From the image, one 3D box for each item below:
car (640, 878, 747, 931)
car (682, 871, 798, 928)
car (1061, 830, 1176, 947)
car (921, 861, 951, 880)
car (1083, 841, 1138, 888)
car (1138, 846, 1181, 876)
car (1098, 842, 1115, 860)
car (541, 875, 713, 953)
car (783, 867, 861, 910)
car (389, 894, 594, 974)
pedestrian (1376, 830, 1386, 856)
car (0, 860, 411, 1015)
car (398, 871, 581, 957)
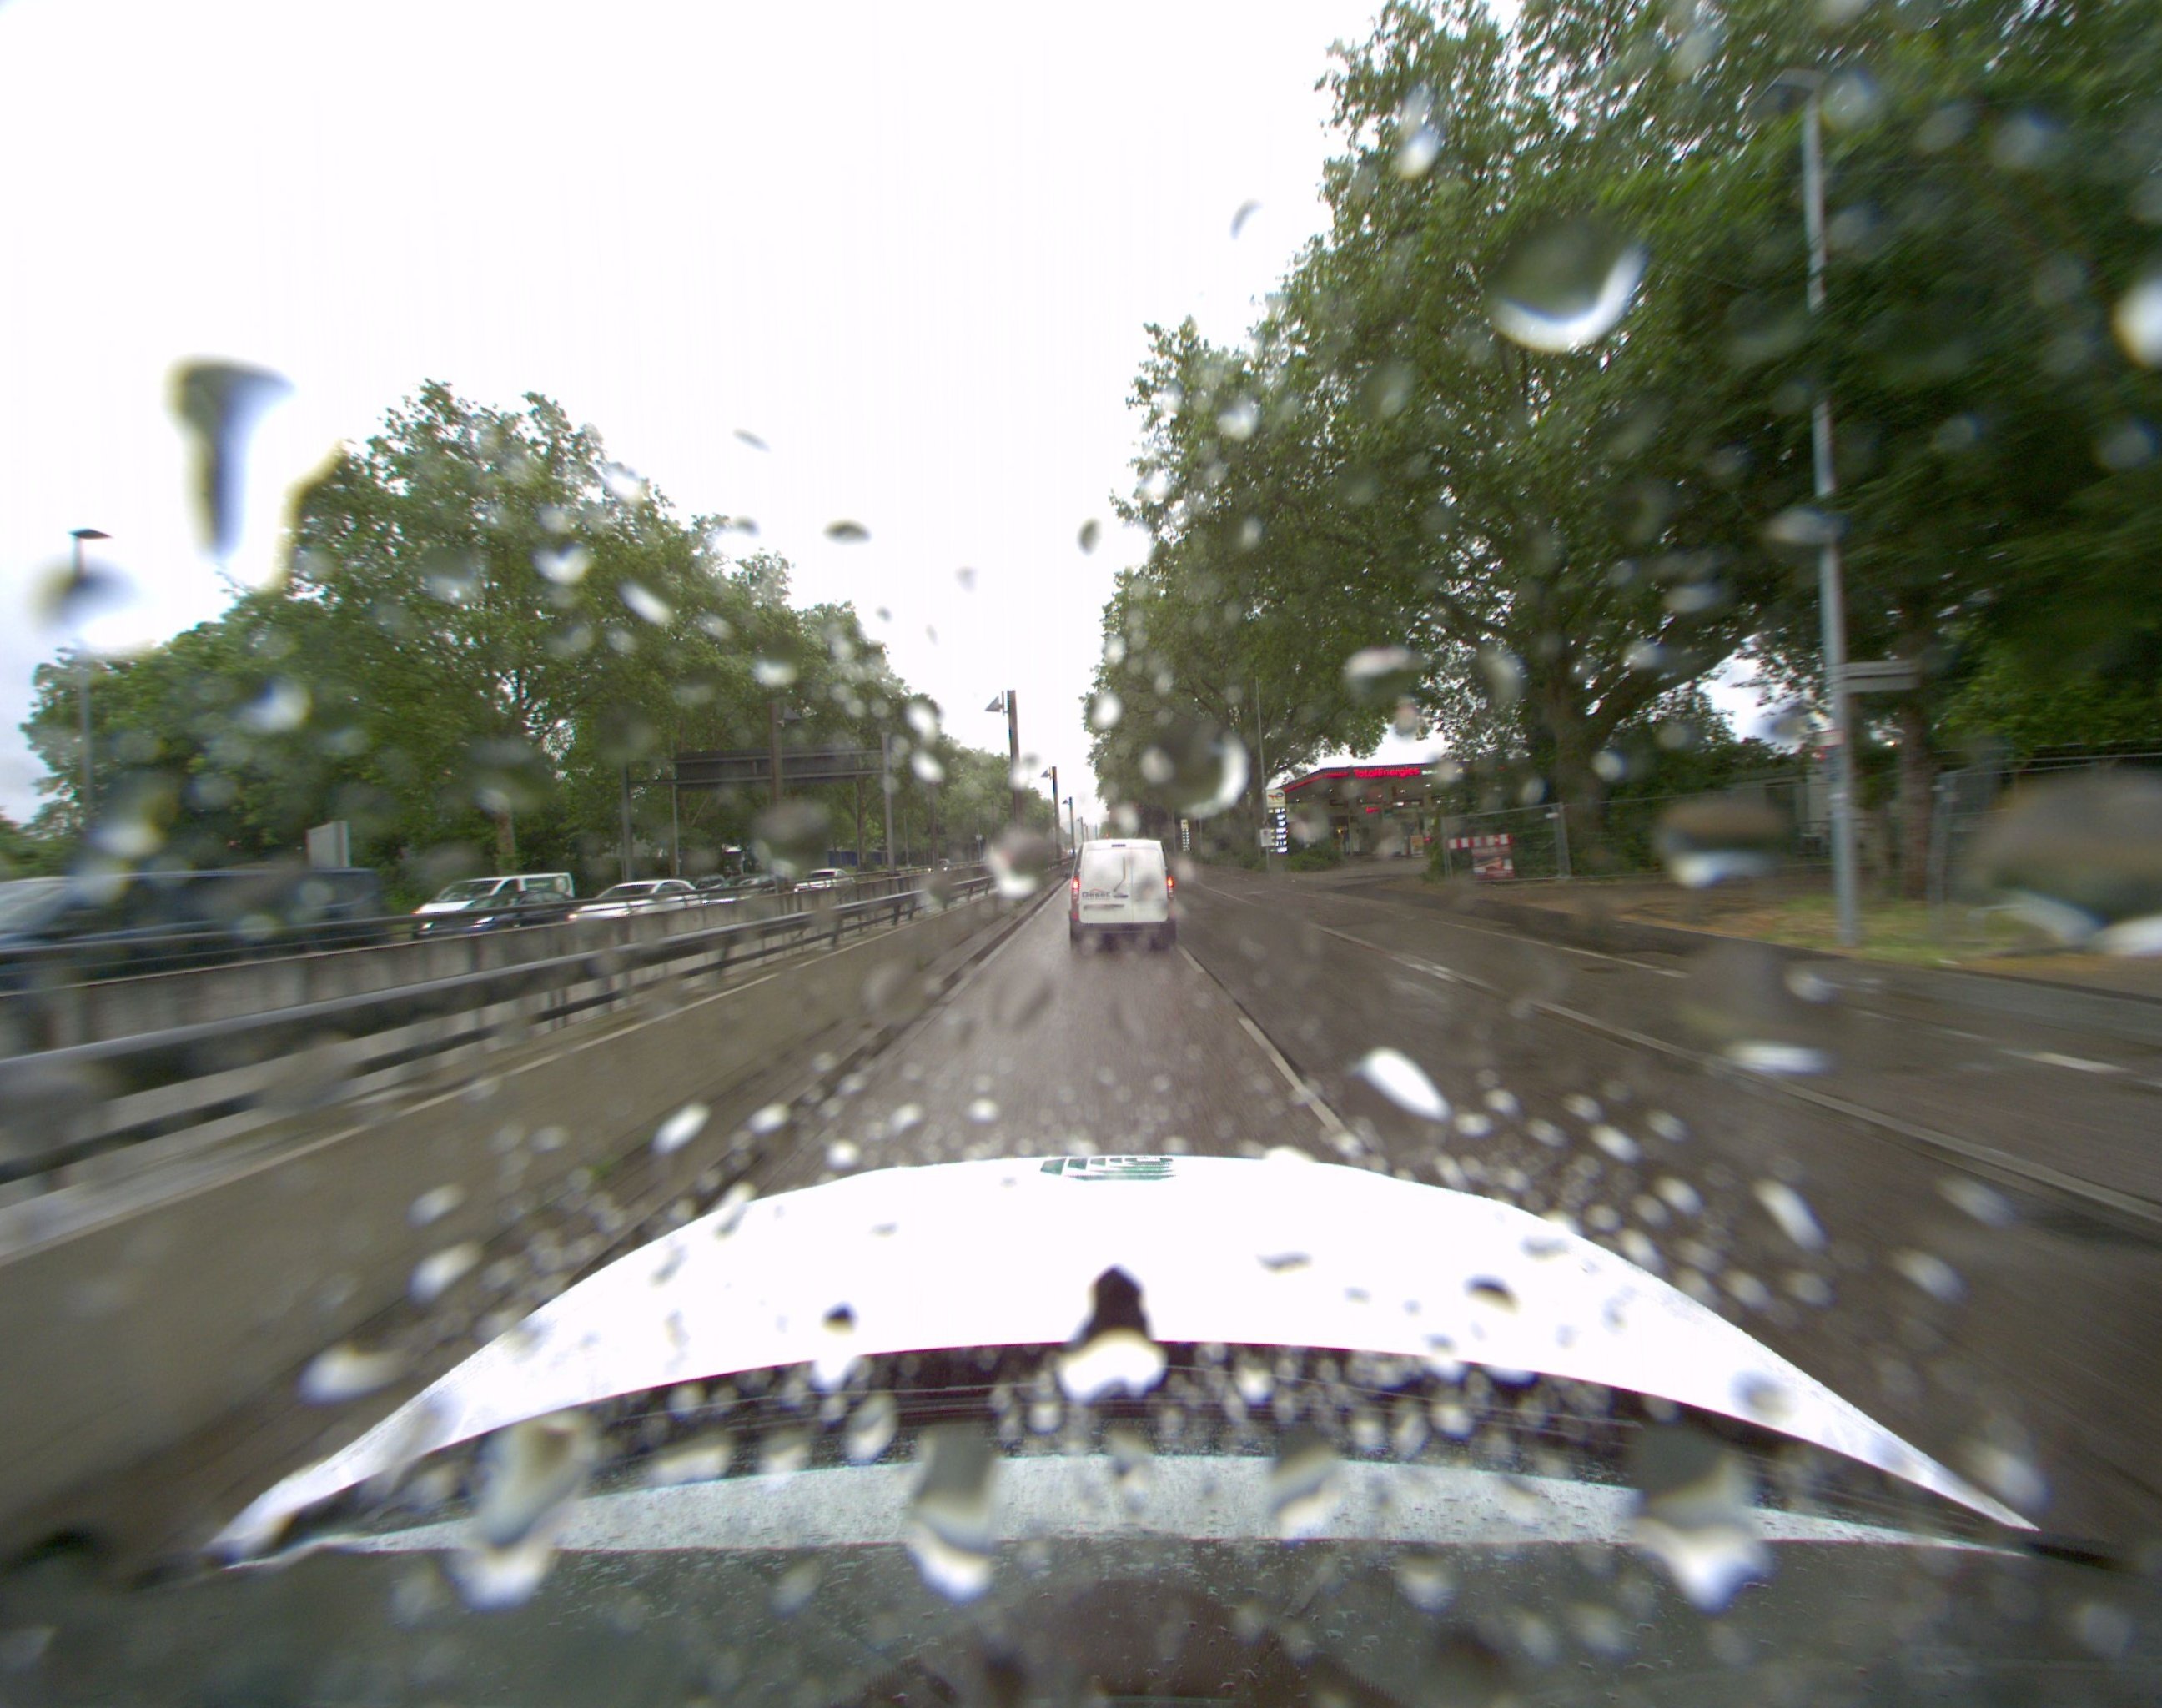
[{"bbox_3d":[-14.386,1.828,30.507,1.840,1.632,4.091,-3,0,2],"label":"car"},{"bbox_3d":[-11.441,1.477,27.668,1.986,1.632,4.091,-3,0,2],"label":"car"},{"bbox_3d":[0.589,0.537,14.557,1.750,1.777,3.999,-1,0,0],"label":"car"},{"bbox_3d":[-13.945,1.549,78.324,1.899,1.571,4.003,-3,0,3],"label":"car"},{"bbox_3d":[1.125,0.387,31.942,1.911,1.609,4.001,-4,0,1],"label":"car"},{"bbox_3d":[4.595,0.424,48.178,1.988,1.585,3.998,-4,0,-1],"label":"car"},{"bbox_3d":[3.275,-0.331,104.813,2.040,2.140,4.003,-3,0,3],"label":"car"},{"bbox_3d":[-11.636,1.476,21.248,1.986,1.632,4.091,-3,0,2],"label":"car"},{"bbox_3d":[-11.567,1.499,36.740,1.987,1.632,4.579,-3,0,0],"label":"car"},{"bbox_3d":[-15.313,2.004,21.551,1.972,1.574,4.551,-3,0,1],"label":"car"},{"bbox_3d":[20.028,-0.738,54.336,0.549,1.725,0.729,-4,0,20],"label":"pedestrian"},{"bbox_3d":[-11.997,0.929,10.500,1.972,1.574,5.541,-3,0,1],"label":"car"},{"bbox_3d":[-17.980,1.727,25.122,1.746,2.170,4.853,-4,0,4],"label":"car"}]
